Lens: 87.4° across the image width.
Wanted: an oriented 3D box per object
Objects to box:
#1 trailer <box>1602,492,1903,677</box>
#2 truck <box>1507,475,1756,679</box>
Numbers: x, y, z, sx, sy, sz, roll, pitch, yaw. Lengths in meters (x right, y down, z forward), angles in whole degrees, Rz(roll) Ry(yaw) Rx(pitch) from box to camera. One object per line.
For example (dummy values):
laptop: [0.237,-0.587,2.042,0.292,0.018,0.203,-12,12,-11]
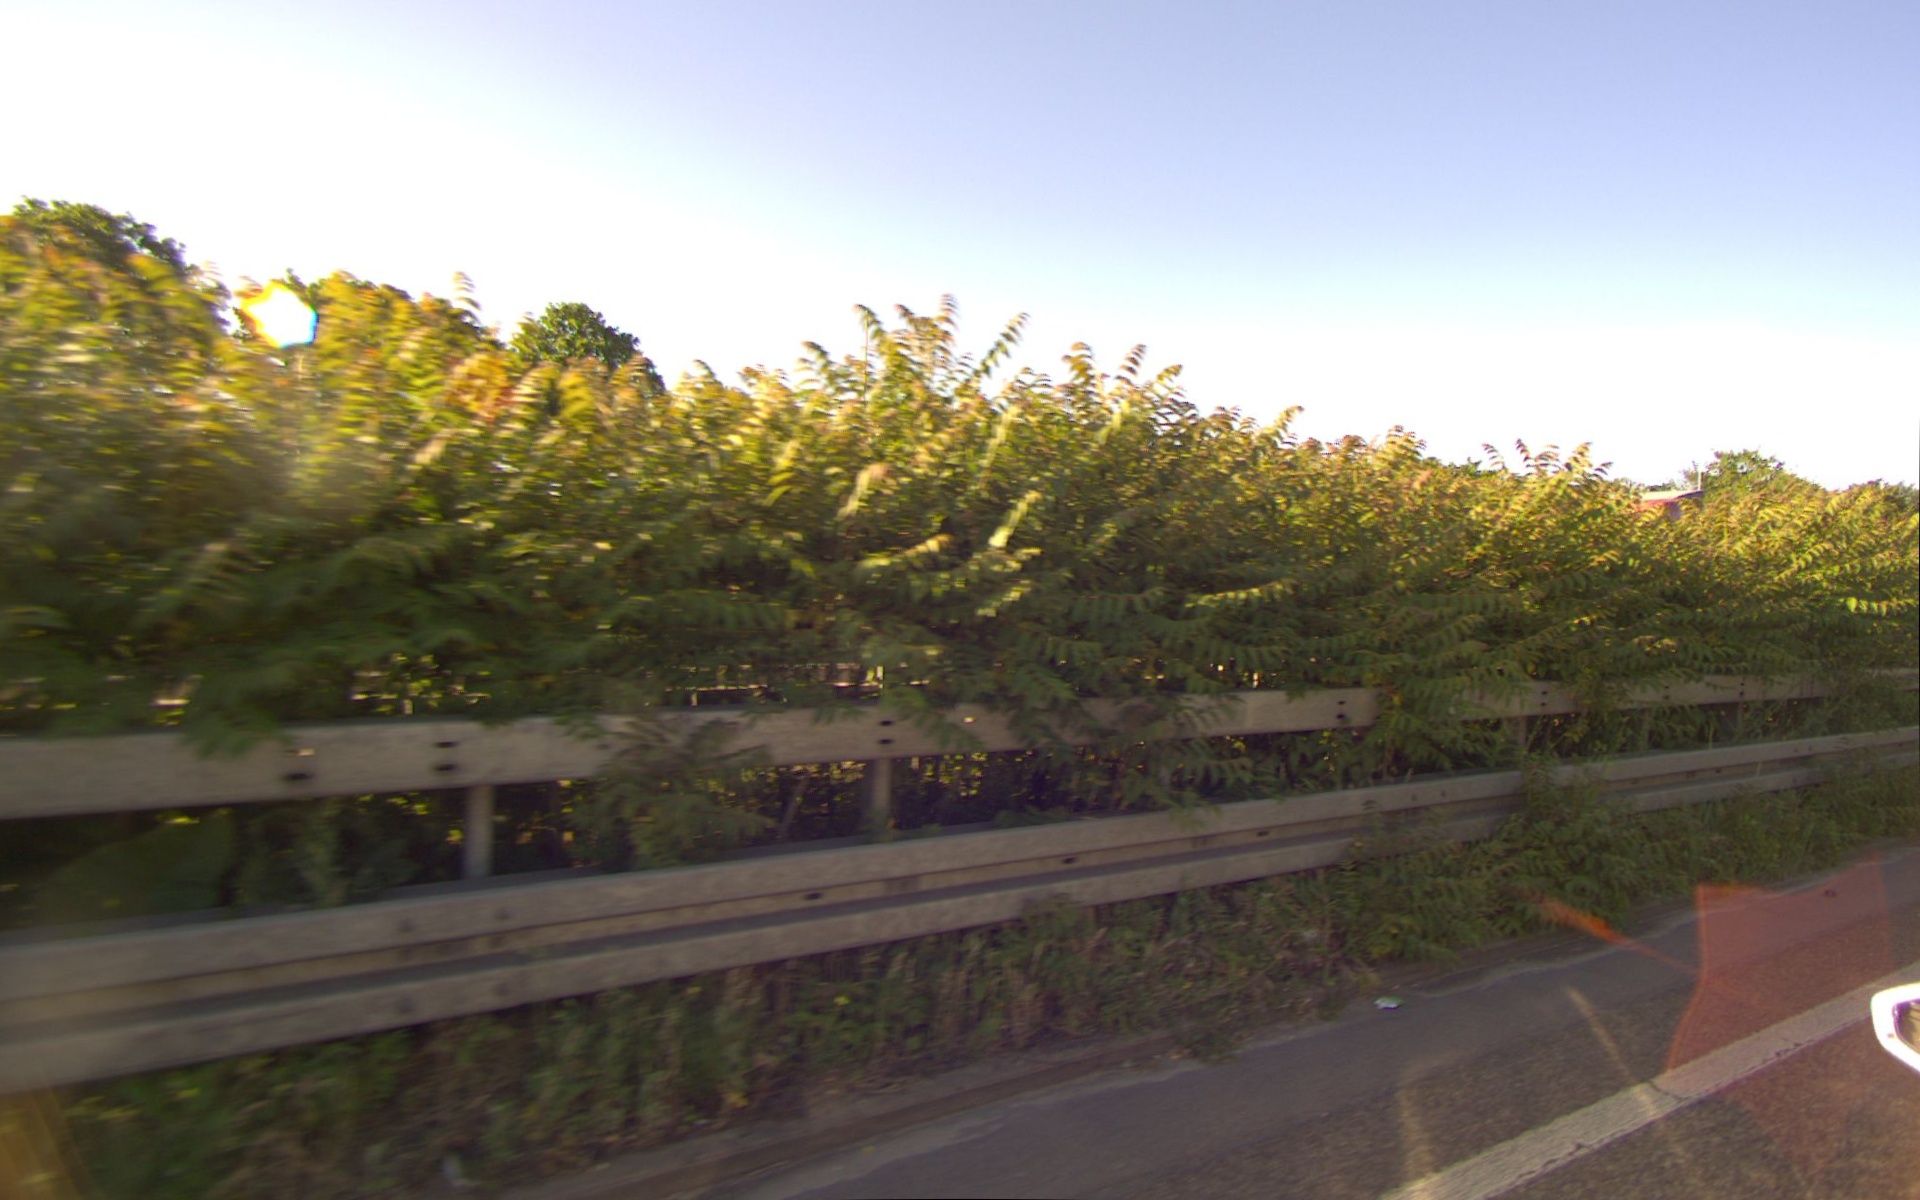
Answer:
trailer: [21.218,-0.303,26.593,10.575,4.179,2.635,1,1,-31]
truck: [15.522,-0.449,23.158,5.497,4.179,2.635,1,1,-31]
